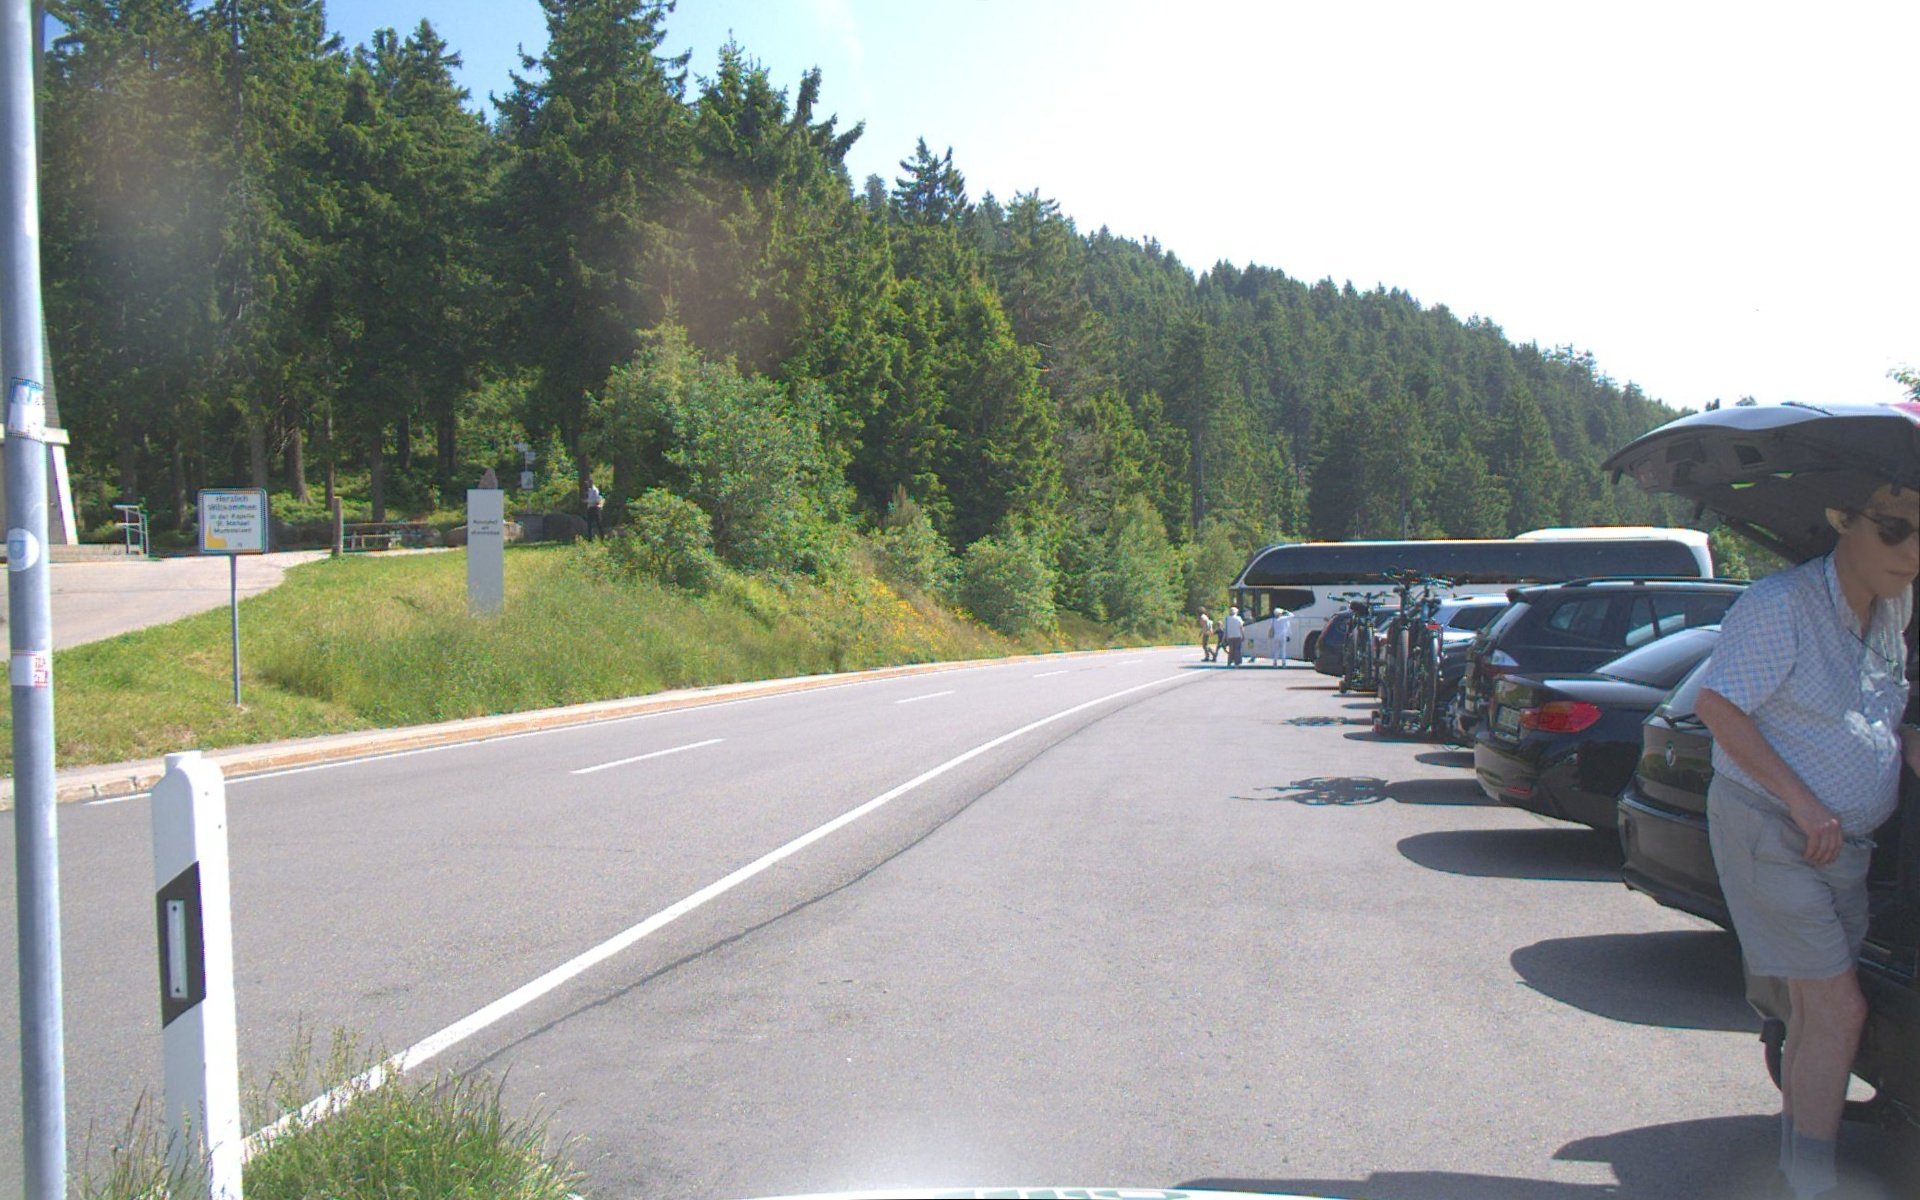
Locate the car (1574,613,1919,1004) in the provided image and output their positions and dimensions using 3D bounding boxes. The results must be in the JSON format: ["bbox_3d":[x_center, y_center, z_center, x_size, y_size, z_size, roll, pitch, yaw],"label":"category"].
[{"bbox_3d":[4.856,0.797,6.844,3.997,1.400,1.702,1,0,1],"label":"car"}]

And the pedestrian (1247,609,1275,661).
[{"bbox_3d":[9.576,1.106,52.619,0.835,1.613,0.819,-2,-1,12],"label":"pedestrian"}]

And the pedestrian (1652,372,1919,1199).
[{"bbox_3d":[2.061,0.482,3.707,0.724,1.903,0.754,2,3,41],"label":"pedestrian"}]

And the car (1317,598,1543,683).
[{"bbox_3d":[8.770,0.750,31.163,3.902,1.474,1.863,-2,-1,11],"label":"car"}]

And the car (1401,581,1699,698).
[{"bbox_3d":[8.640,0.578,24.527,3.902,1.581,1.661,-2,-1,11],"label":"car"}]

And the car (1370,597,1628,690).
[{"bbox_3d":[8.941,0.721,27.713,3.902,1.423,1.621,-2,-1,11],"label":"car"}]

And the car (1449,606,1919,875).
[{"bbox_3d":[5.115,0.779,9.756,3.995,1.400,1.703,1,0,4],"label":"car"}]

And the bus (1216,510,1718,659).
[{"bbox_3d":[13.776,-0.324,45.791,12.823,3.594,3.044,-2,-1,21],"label":"bus"}]

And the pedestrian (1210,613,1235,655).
[{"bbox_3d":[8.308,1.080,52.369,0.718,1.302,0.784,-2,-1,5],"label":"pedestrian"}]

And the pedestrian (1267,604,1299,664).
[{"bbox_3d":[8.836,0.927,45.257,0.754,1.613,0.773,-2,-1,17],"label":"pedestrian"}]

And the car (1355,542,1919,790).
[{"bbox_3d":[5.571,0.484,12.754,4.843,1.725,1.947,-1,0,13],"label":"car"}]

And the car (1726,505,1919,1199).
[{"bbox_3d":[4.393,0.688,3.928,4.252,1.654,1.871,2,-1,5],"label":"car"}]

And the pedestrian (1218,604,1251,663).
[{"bbox_3d":[7.587,0.924,45.721,0.754,1.613,0.773,-2,-1,17],"label":"pedestrian"}]

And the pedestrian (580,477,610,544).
[{"bbox_3d":[-10.750,-2.641,48.735,0.666,1.910,0.542,-2,-1,4],"label":"pedestrian"}]

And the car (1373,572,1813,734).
[{"bbox_3d":[6.691,0.565,17.935,4.153,1.581,1.840,-2,-1,11],"label":"car"}]

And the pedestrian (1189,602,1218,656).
[{"bbox_3d":[7.848,0.930,53.263,0.836,1.713,0.870,-2,-1,5],"label":"pedestrian"}]

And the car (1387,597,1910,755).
[{"bbox_3d":[6.181,0.682,15.334,4.153,1.291,1.840,-2,0,11],"label":"car"}]

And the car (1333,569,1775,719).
[{"bbox_3d":[7.279,0.544,20.810,4.926,1.680,2.049,-2,-1,11],"label":"car"}]
